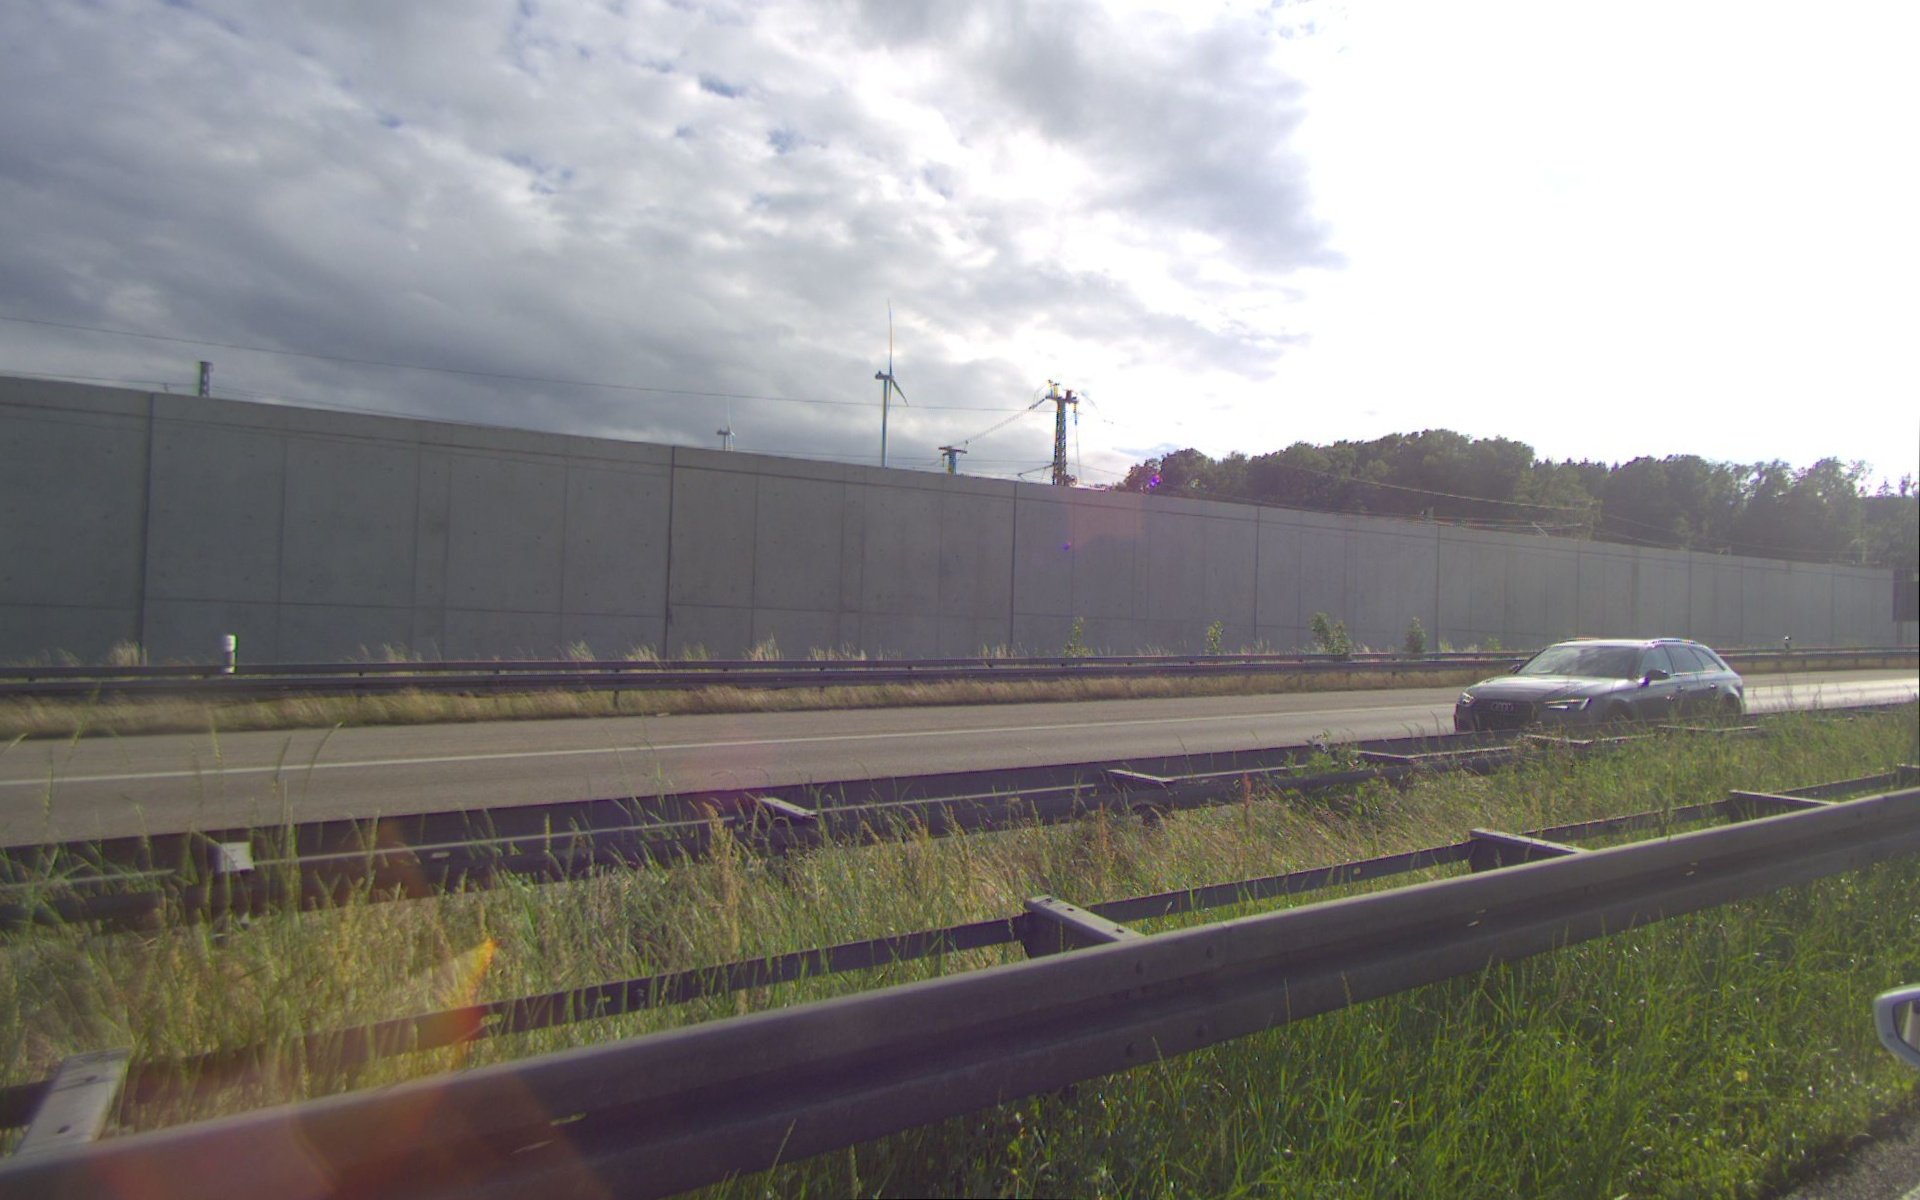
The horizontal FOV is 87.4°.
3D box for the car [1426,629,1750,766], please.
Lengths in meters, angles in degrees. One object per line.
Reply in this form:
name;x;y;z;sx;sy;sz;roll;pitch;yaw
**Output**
car;8.264;1.183;13.165;4.135;1.483;1.893;2;0;-30
